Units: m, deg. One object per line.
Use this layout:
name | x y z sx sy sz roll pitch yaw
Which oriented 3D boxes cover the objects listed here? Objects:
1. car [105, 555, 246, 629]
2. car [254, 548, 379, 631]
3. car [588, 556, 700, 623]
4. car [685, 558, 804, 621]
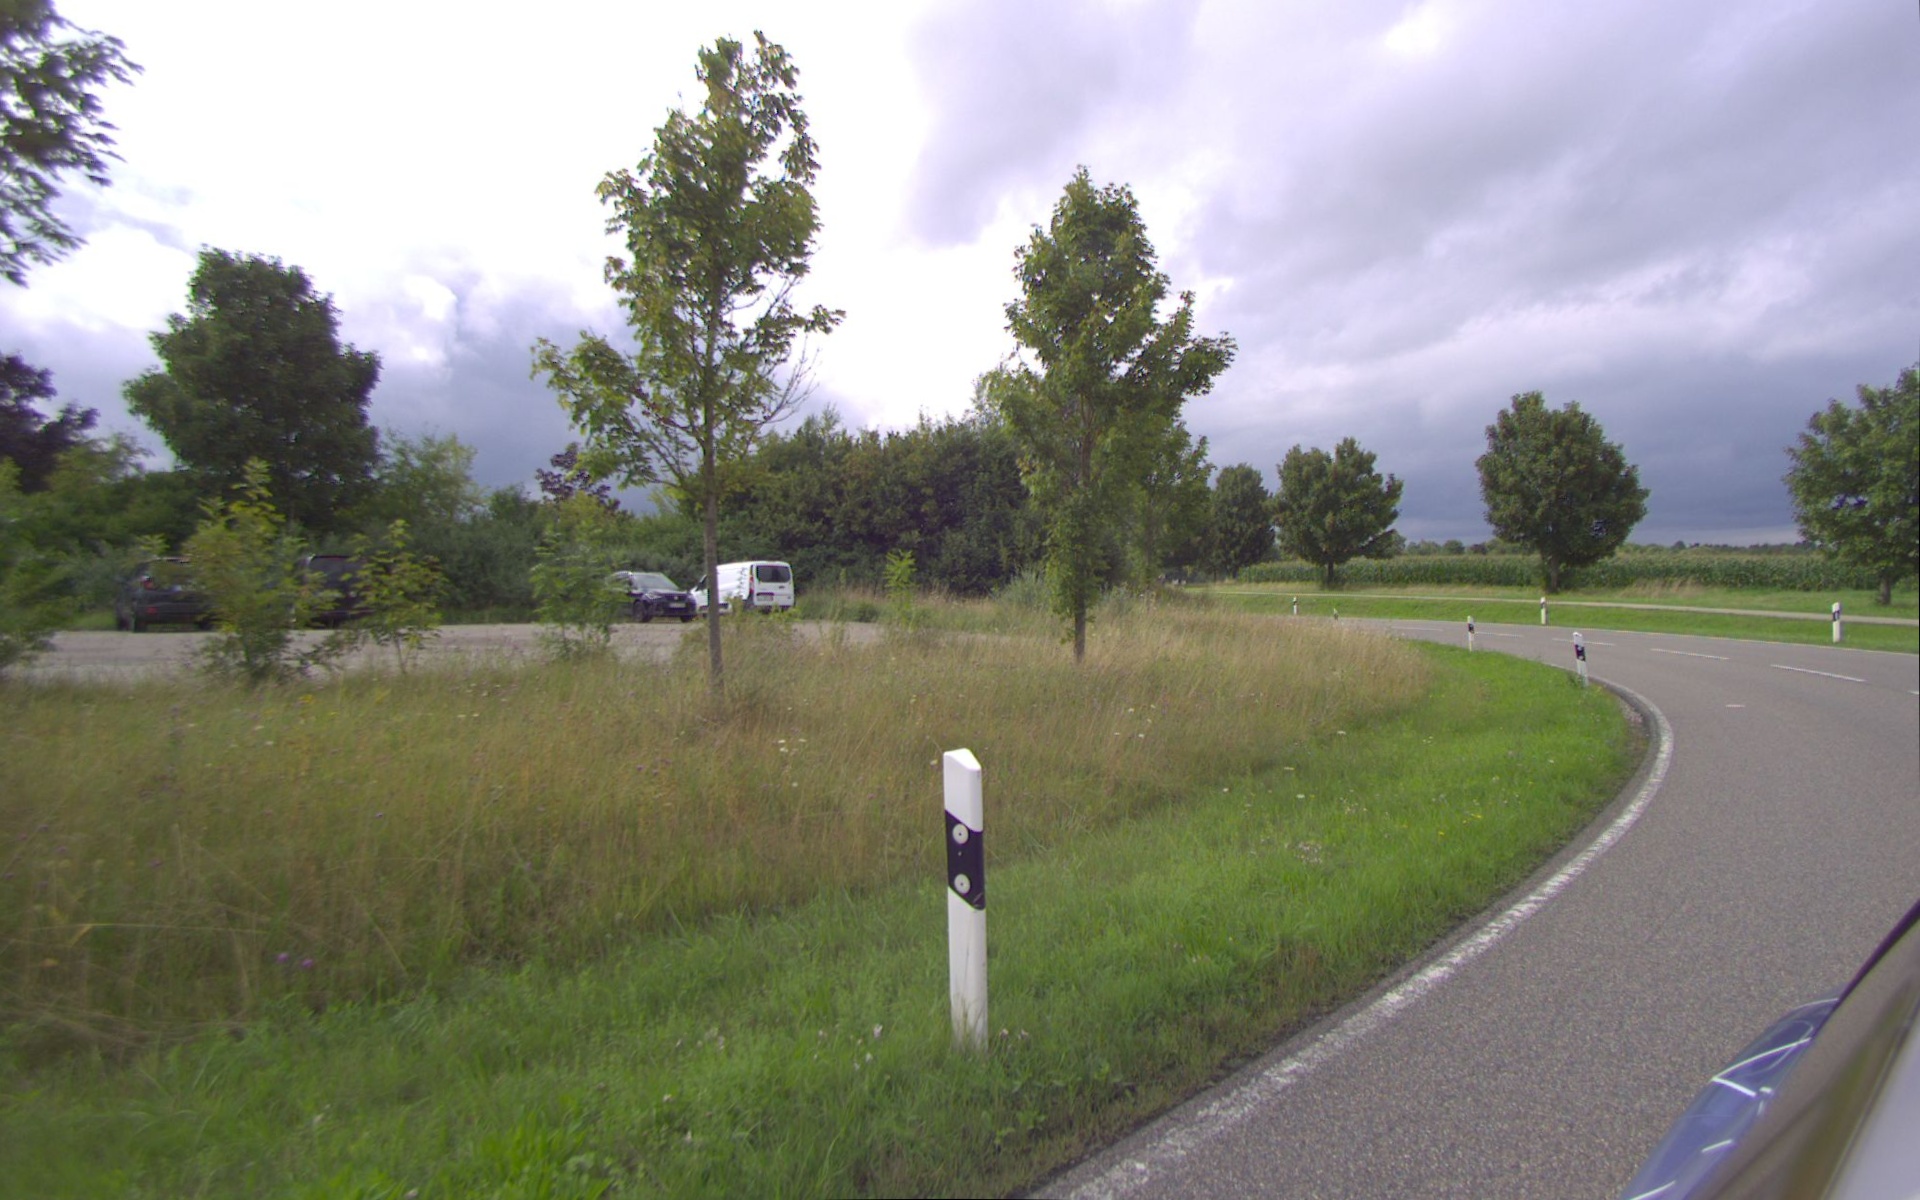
car | -17.813 -0.243 22.910 3.987 1.515 1.969 2 2 44
car | -16.002 -0.315 25.092 1.966 1.882 3.993 -1 2 -42
car | -9.613 -0.359 30.609 1.715 1.882 3.993 -1 2 -42
car | -6.902 -0.393 32.173 1.966 1.882 3.993 -1 2 -42
